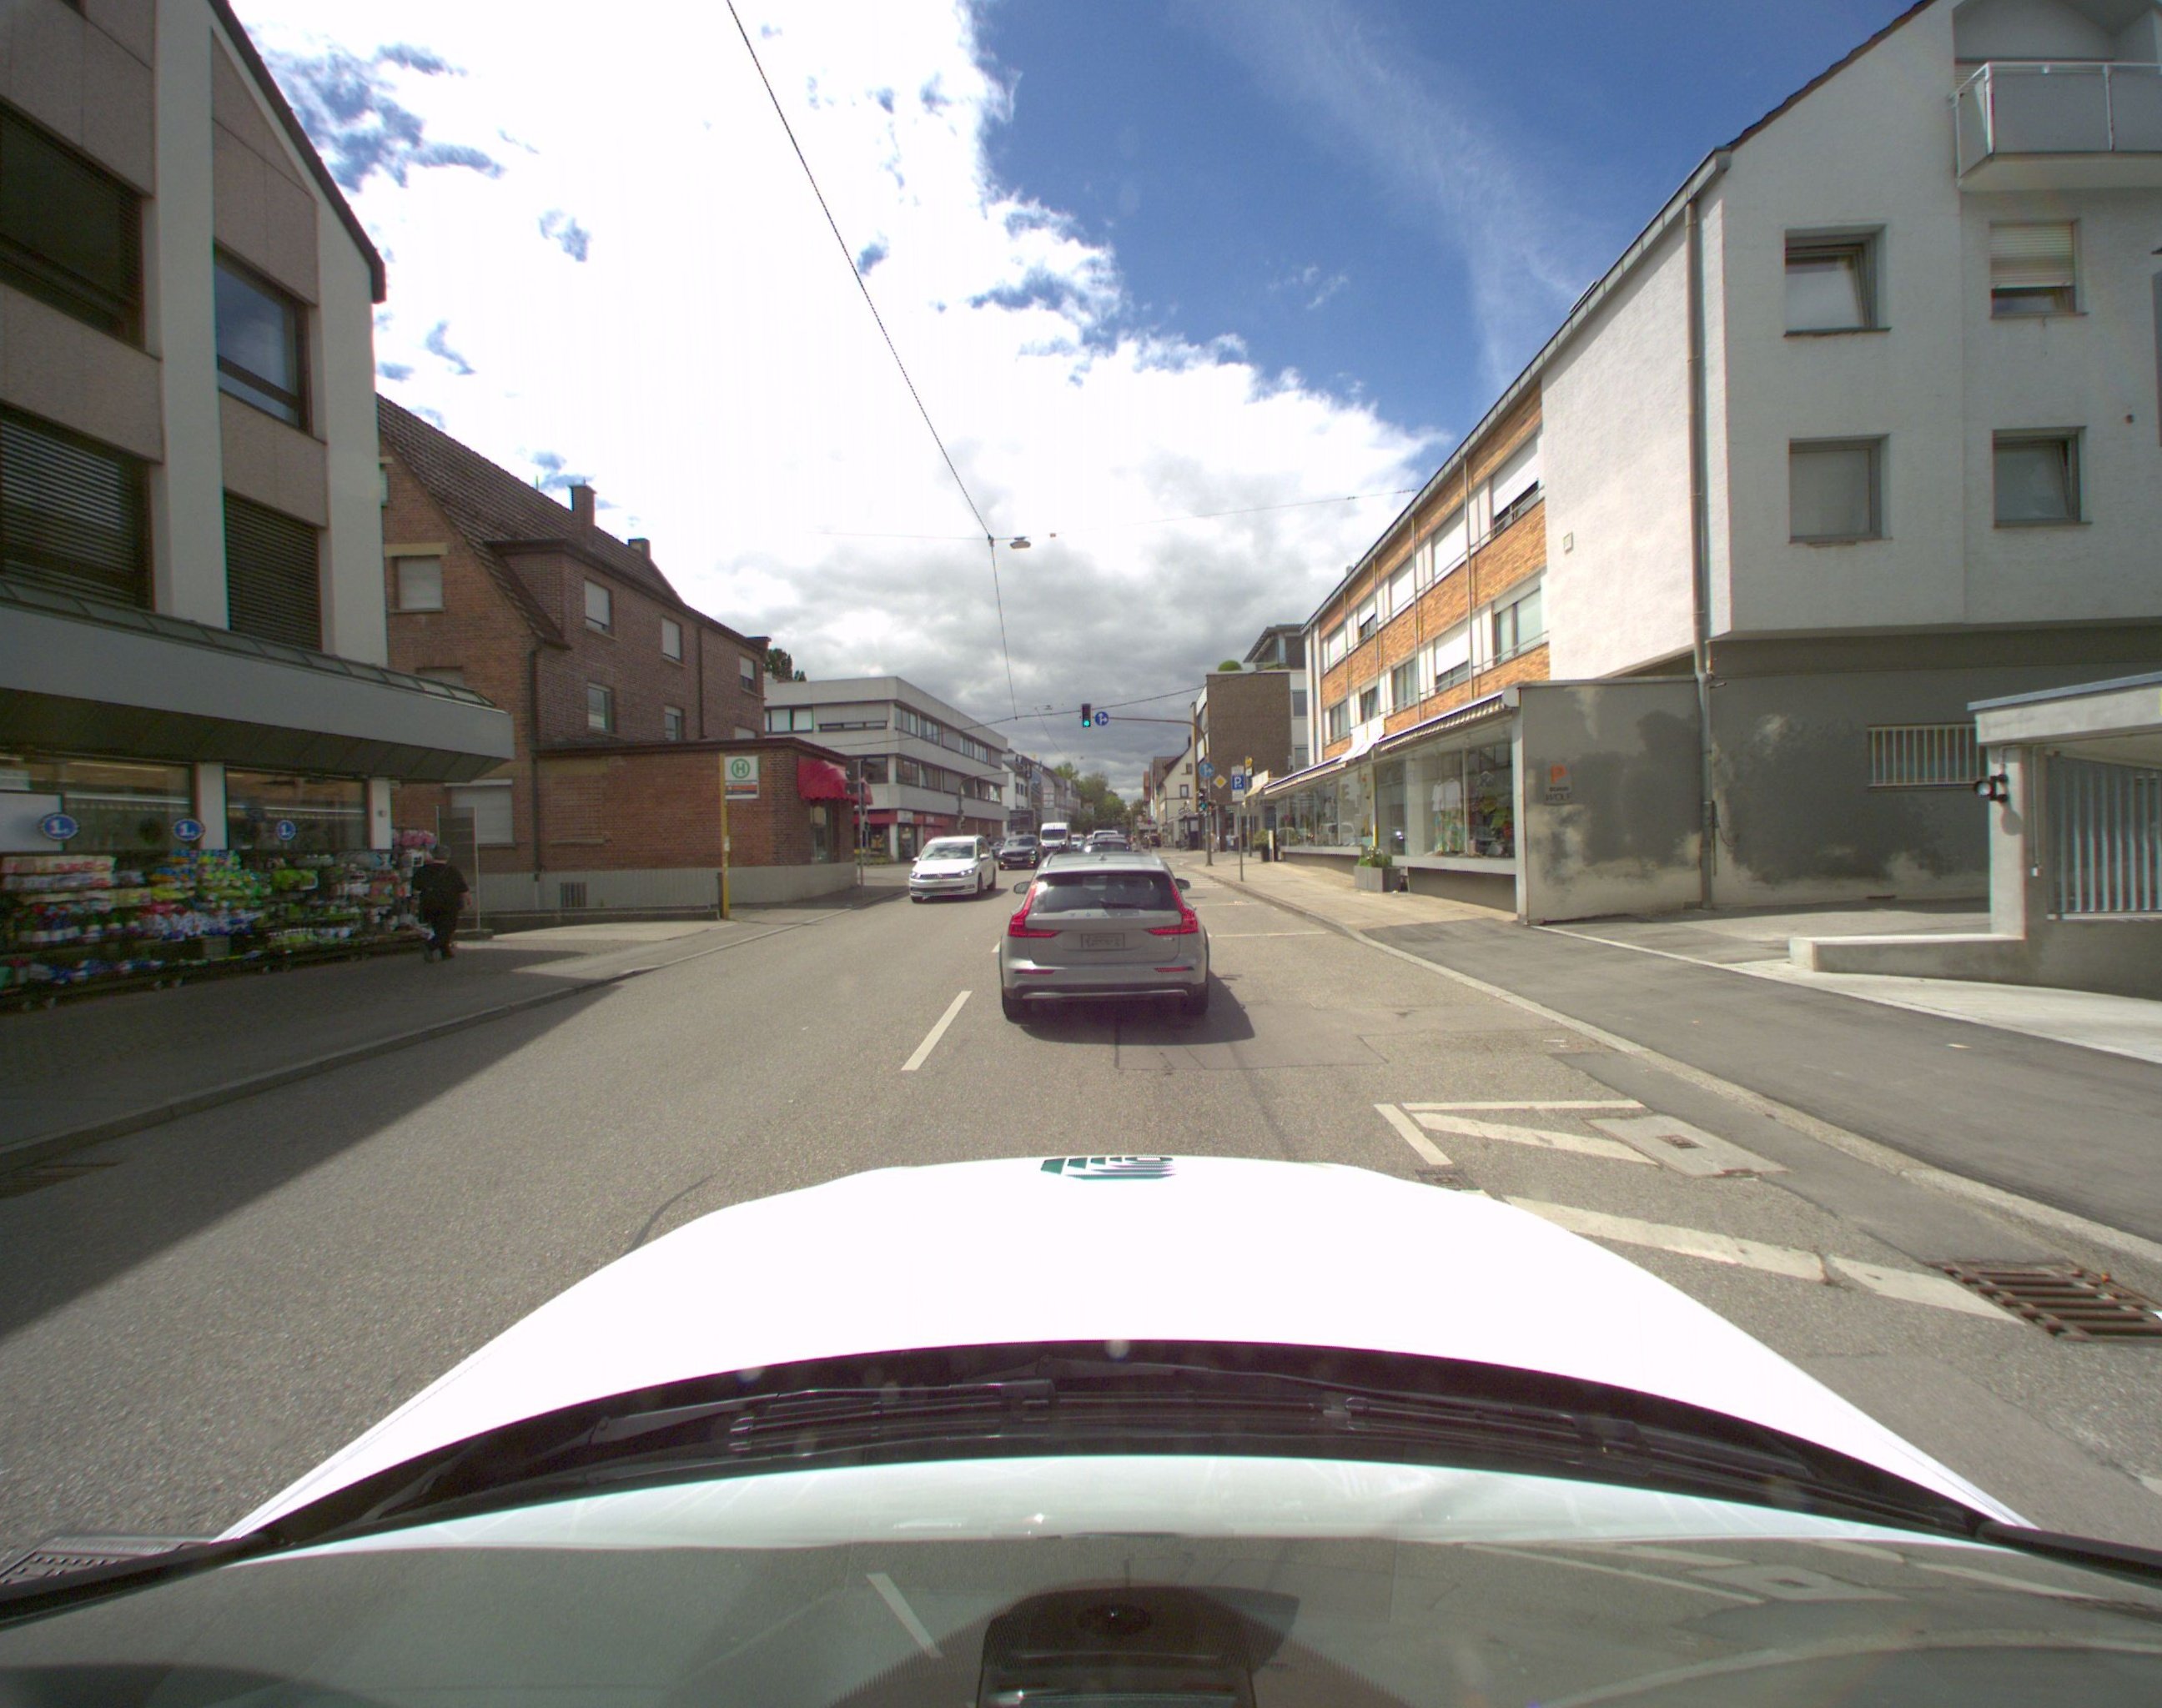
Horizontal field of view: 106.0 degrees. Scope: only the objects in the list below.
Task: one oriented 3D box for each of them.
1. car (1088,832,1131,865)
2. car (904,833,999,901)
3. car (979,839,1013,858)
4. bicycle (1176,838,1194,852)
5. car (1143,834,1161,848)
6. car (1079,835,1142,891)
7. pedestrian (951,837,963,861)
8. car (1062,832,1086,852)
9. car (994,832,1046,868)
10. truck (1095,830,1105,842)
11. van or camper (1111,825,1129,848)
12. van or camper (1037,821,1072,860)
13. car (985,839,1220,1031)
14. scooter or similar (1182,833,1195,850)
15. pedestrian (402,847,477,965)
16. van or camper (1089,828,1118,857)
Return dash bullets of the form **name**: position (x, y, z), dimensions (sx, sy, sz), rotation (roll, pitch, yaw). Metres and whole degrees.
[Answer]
- **car**: position (1.294, -0.224, 36.677), dimensions (1.800, 1.346, 3.720), rotation (-2, 0, 2)
- **car**: position (-3.431, 0.278, 22.354), dimensions (1.768, 1.612, 4.122), rotation (-2, 2, 2)
- **car**: position (-7.131, -0.490, 68.536), dimensions (1.894, 1.443, 4.452), rotation (0, 1, 6)
- **bicycle**: position (8.489, -0.742, 66.585), dimensions (0.555, 1.144, 2.288), rotation (-3, 1, -15)
- **car**: position (7.951, -1.417, 91.639), dimensions (1.705, 1.464, 4.000), rotation (-1, 0, 0)
- **car**: position (0.849, 0.216, 23.533), dimensions (1.644, 1.482, 3.609), rotation (-1, 1, 2)
- **pedestrian**: position (-8.474, -0.346, 55.821), dimensions (0.616, 1.641, 0.661), rotation (-2, 1, 3)
- **car**: position (-0.571, -1.095, 73.579), dimensions (1.773, 1.639, 4.225), rotation (-3, 1, 3)
- **car**: position (-2.728, -0.156, 37.264), dimensions (1.783, 1.511, 3.849), rotation (-2, 0, 4)
- **truck**: position (5.069, -4.706, 211.320), dimensions (2.266, 2.886, 7.086), rotation (-2, 1, 3)
- **van or camper**: position (5.012, -2.232, 103.288), dimensions (2.114, 2.686, 4.786), rotation (-2, 1, 3)
- **van or camper**: position (-1.815, -0.996, 58.188), dimensions (2.141, 2.555, 5.439), rotation (-2, 2, 0)
- **car**: position (0.235, 0.641, 8.470), dimensions (1.829, 1.486, 4.002), rotation (-2, 0, 2)
- **scooter or similar**: position (8.380, -0.963, 63.435), dimensions (0.342, 1.253, 1.236), rotation (-4, 0, -23)
- **pedestrian**: position (-8.778, 0.688, 11.158), dimensions (0.776, 1.558, 0.567), rotation (1, -1, -39)
- **van or camper**: position (1.519, -0.732, 54.579), dimensions (1.812, 1.835, 4.001), rotation (-2, -1, 2)
